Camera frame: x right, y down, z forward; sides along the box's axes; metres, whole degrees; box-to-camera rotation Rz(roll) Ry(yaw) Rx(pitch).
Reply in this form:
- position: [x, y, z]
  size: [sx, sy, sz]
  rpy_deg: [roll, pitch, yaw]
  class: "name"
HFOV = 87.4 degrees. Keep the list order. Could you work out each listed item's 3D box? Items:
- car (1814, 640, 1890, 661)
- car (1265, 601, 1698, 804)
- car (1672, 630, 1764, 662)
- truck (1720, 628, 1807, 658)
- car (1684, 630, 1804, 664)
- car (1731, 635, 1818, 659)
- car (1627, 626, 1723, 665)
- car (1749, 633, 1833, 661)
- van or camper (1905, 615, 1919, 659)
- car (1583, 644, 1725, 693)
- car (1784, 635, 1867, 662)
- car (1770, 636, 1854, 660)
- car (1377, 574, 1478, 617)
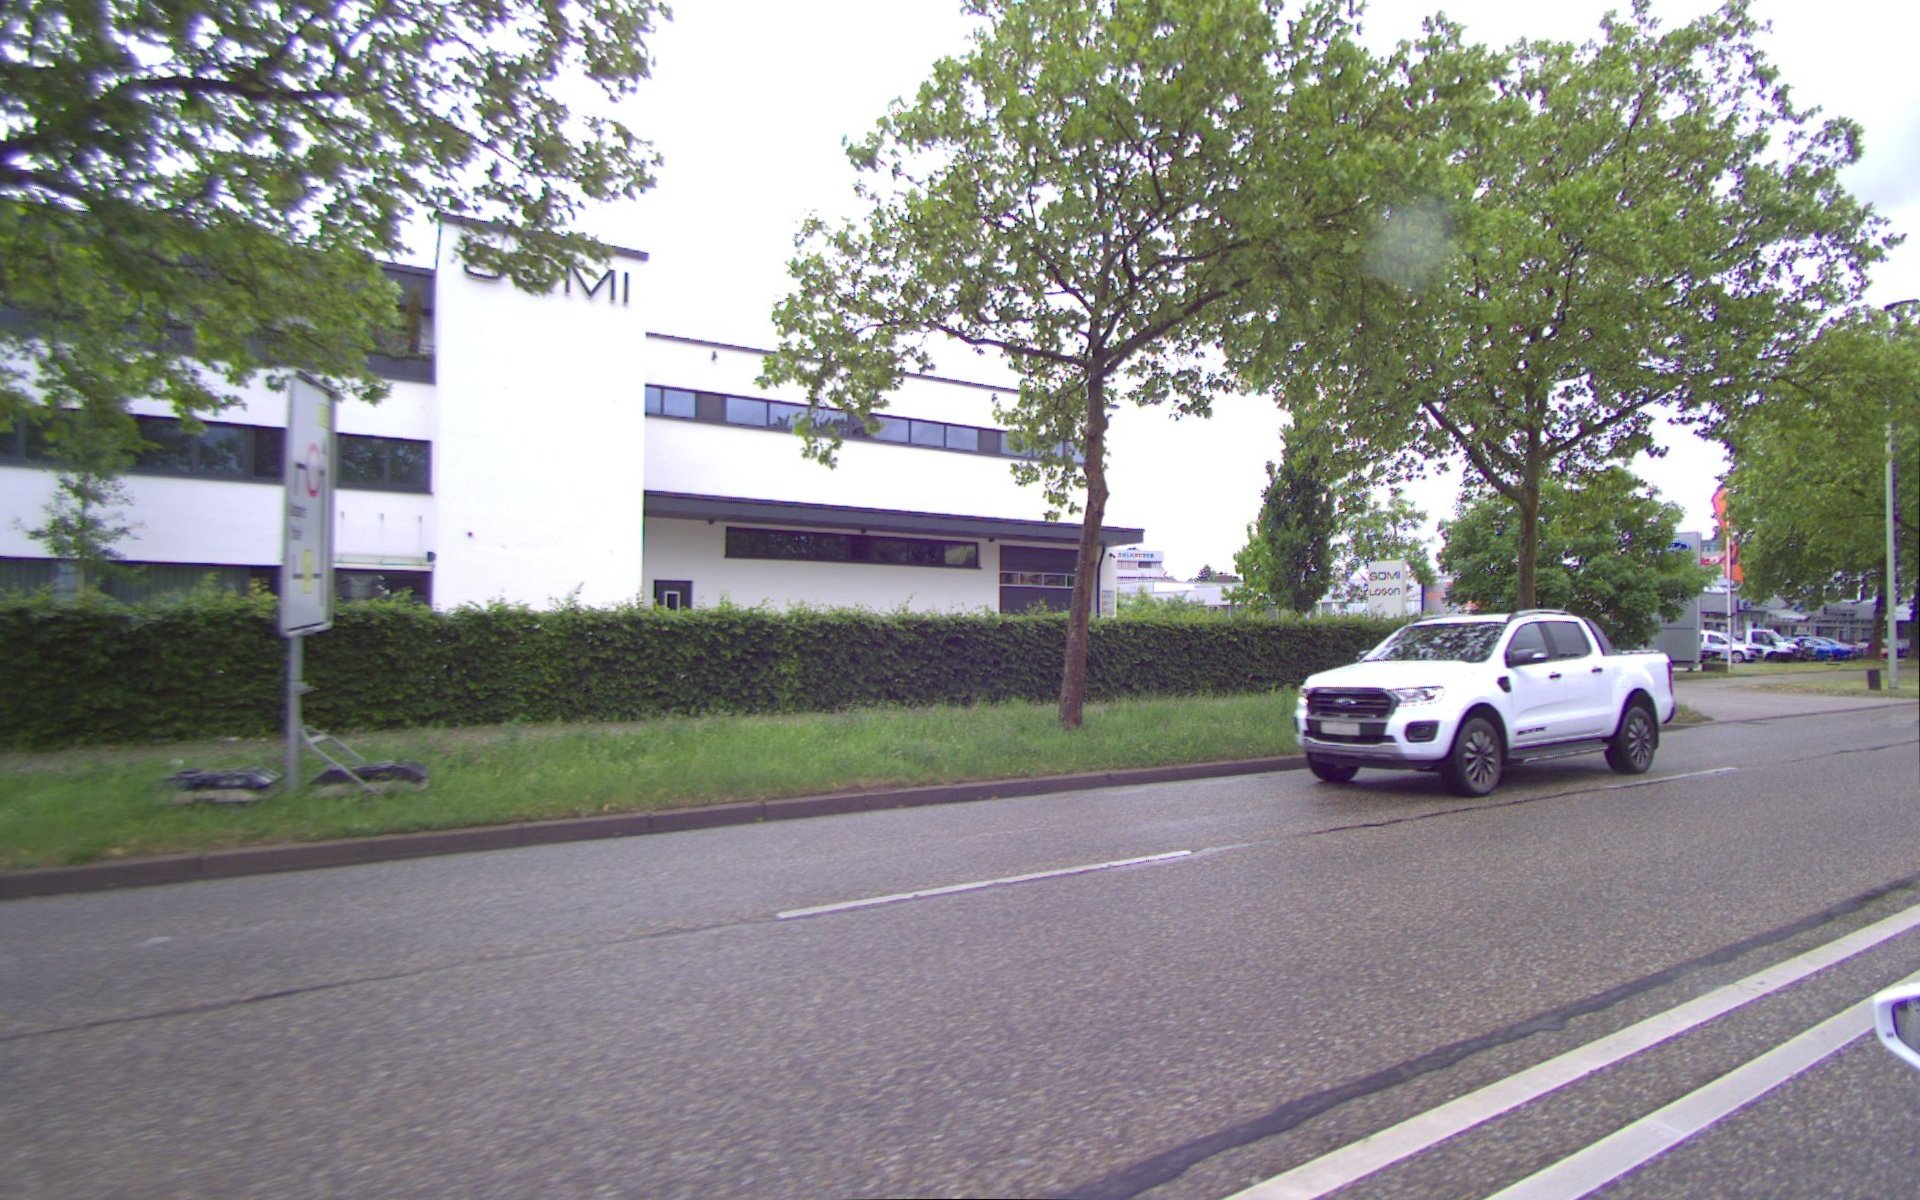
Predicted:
- position: [67.073, 3.771, 75.599]
  size: [1.574, 1.487, 3.985]
  rpy_deg: [1, -2, -18]
  class: "car"
- position: [6.002, 1.019, 11.327]
  size: [5.282, 1.829, 1.901]
  rpy_deg: [1, -3, -32]
  class: "car"
- position: [44.778, 2.694, 59.419]
  size: [1.862, 1.790, 3.965]
  rpy_deg: [1, -2, -32]
  class: "car"
- position: [50.523, 2.678, 63.210]
  size: [1.983, 1.862, 3.955]
  rpy_deg: [2, -2, -39]
  class: "truck"
- position: [47.805, 2.818, 61.360]
  size: [2.390, 1.928, 5.344]
  rpy_deg: [1, -2, -33]
  class: "car"
- position: [52.729, 3.033, 65.093]
  size: [2.008, 1.480, 3.973]
  rpy_deg: [1, -2, -27]
  class: "car"
- position: [39.795, 2.504, 55.978]
  size: [1.862, 2.040, 3.965]
  rpy_deg: [1, -2, -32]
  class: "car"
- position: [54.838, 3.094, 66.358]
  size: [1.834, 1.790, 3.988]
  rpy_deg: [1, -2, -15]
  class: "car"
- position: [58.841, 2.222, 59.888]
  size: [6.326, 2.503, 1.984]
  rpy_deg: [1, 0, -31]
  class: "van or camper"
- position: [32.064, 3.109, 46.595]
  size: [2.106, 2.040, 5.018]
  rpy_deg: [1, -2, -32]
  class: "car"
- position: [59.291, 3.287, 68.883]
  size: [1.833, 1.790, 3.989]
  rpy_deg: [1, -2, -14]
  class: "car"
- position: [57.173, 3.189, 67.466]
  size: [1.834, 1.540, 3.988]
  rpy_deg: [1, -2, -15]
  class: "car"
- position: [22.043, -0.167, 47.510]
  size: [1.939, 1.914, 3.970]
  rpy_deg: [1, -2, -29]
  class: "car"
